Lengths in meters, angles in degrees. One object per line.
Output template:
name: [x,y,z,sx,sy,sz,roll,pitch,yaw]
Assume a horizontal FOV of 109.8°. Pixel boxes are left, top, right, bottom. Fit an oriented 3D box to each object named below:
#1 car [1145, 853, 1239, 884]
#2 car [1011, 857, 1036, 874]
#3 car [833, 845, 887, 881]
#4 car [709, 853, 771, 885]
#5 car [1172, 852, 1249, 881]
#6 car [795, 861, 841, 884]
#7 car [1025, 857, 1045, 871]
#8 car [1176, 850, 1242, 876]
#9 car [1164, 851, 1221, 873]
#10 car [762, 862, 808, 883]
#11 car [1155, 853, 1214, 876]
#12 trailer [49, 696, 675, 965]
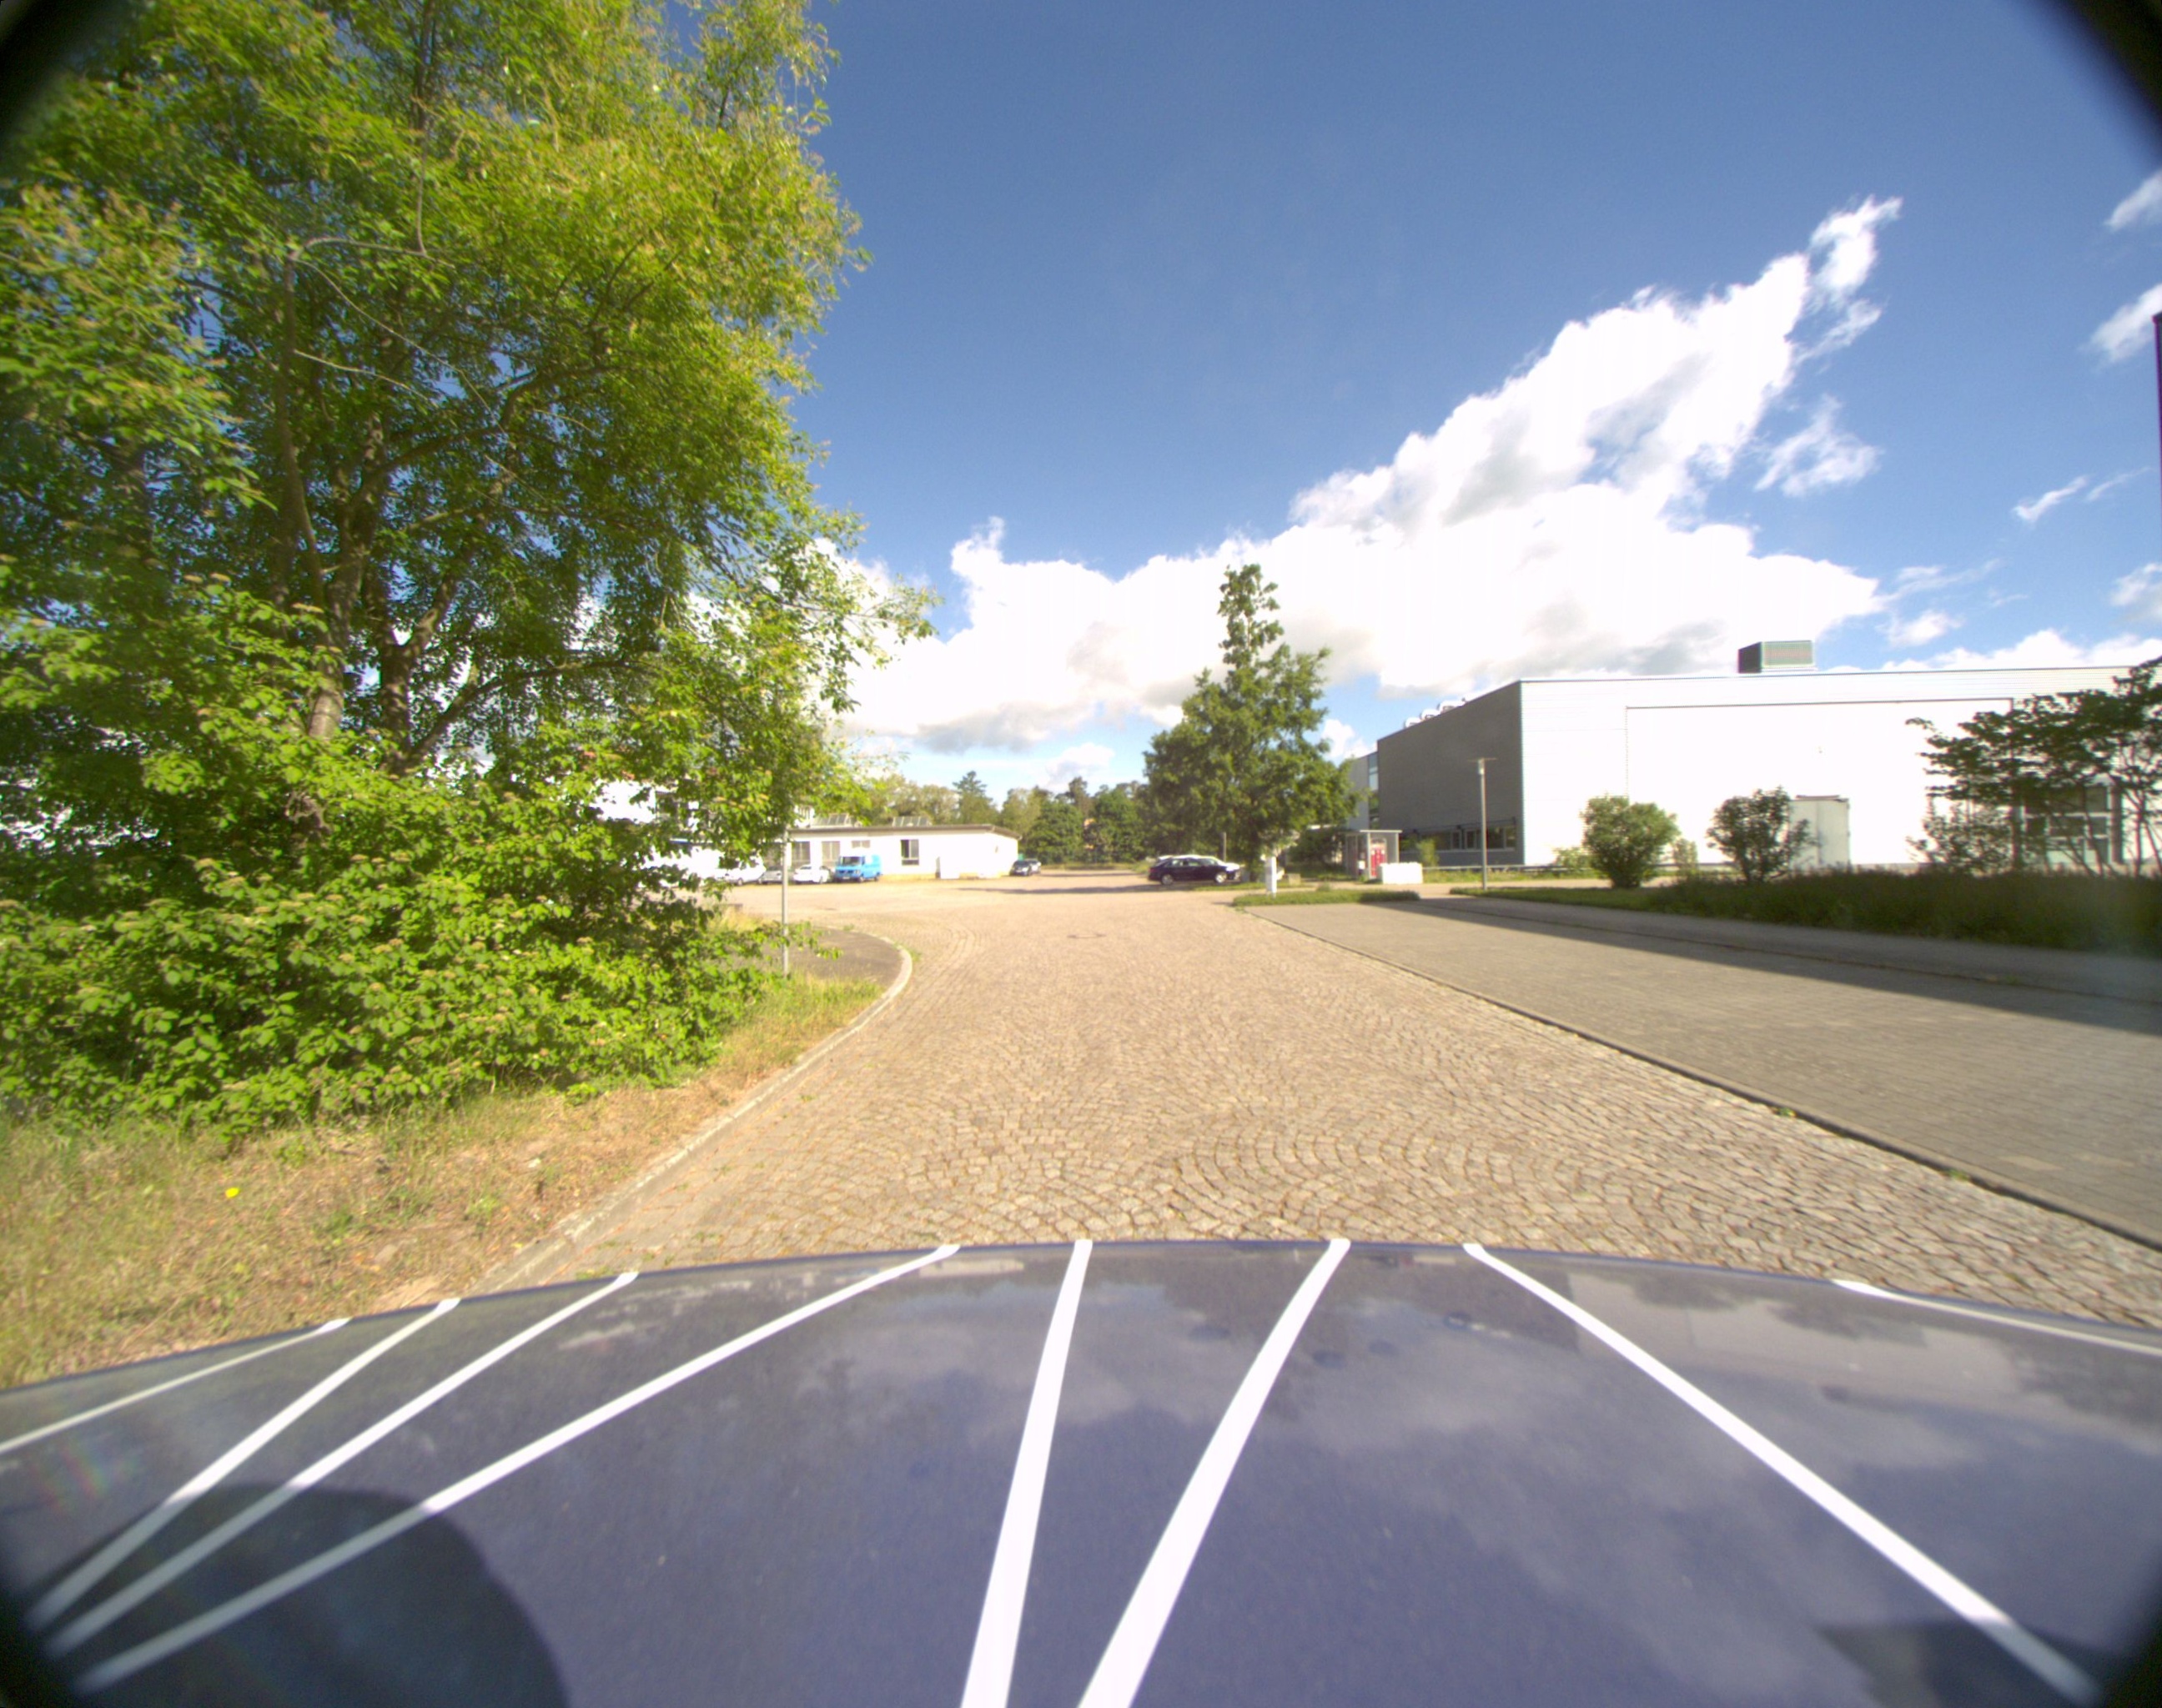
car: [5.877,0.767,40.657,4.730,1.414,1.757,-3,0,0]
car: [-5.045,1.000,67.420,1.768,1.427,3.992,0,0,2]
car: [-16.194,0.656,55.998,2.087,2.468,5.240,-1,0,4]
car: [-24.789,1.052,55.377,2.008,2.069,4.805,-1,1,4]
car: [7.327,0.681,43.315,4.146,1.451,1.692,-3,0,6]
car: [-19.006,1.318,55.027,1.736,1.397,3.739,-2,1,4]
car: [-4.668,0.994,78.000,1.691,1.427,3.987,0,0,2]
car: [8.123,0.585,48.581,3.921,1.438,1.756,-3,0,2]
car: [8.218,0.589,56.191,3.921,1.427,1.796,-3,0,2]
car: [-21.787,1.345,56.047,1.690,1.390,3.832,-1,0,4]
car: [7.245,0.710,53.572,3.921,1.409,1.693,-3,0,2]
trailer: [-13.494,-0.324,16.605,2.778,3.888,10.889,-1,0,3]
